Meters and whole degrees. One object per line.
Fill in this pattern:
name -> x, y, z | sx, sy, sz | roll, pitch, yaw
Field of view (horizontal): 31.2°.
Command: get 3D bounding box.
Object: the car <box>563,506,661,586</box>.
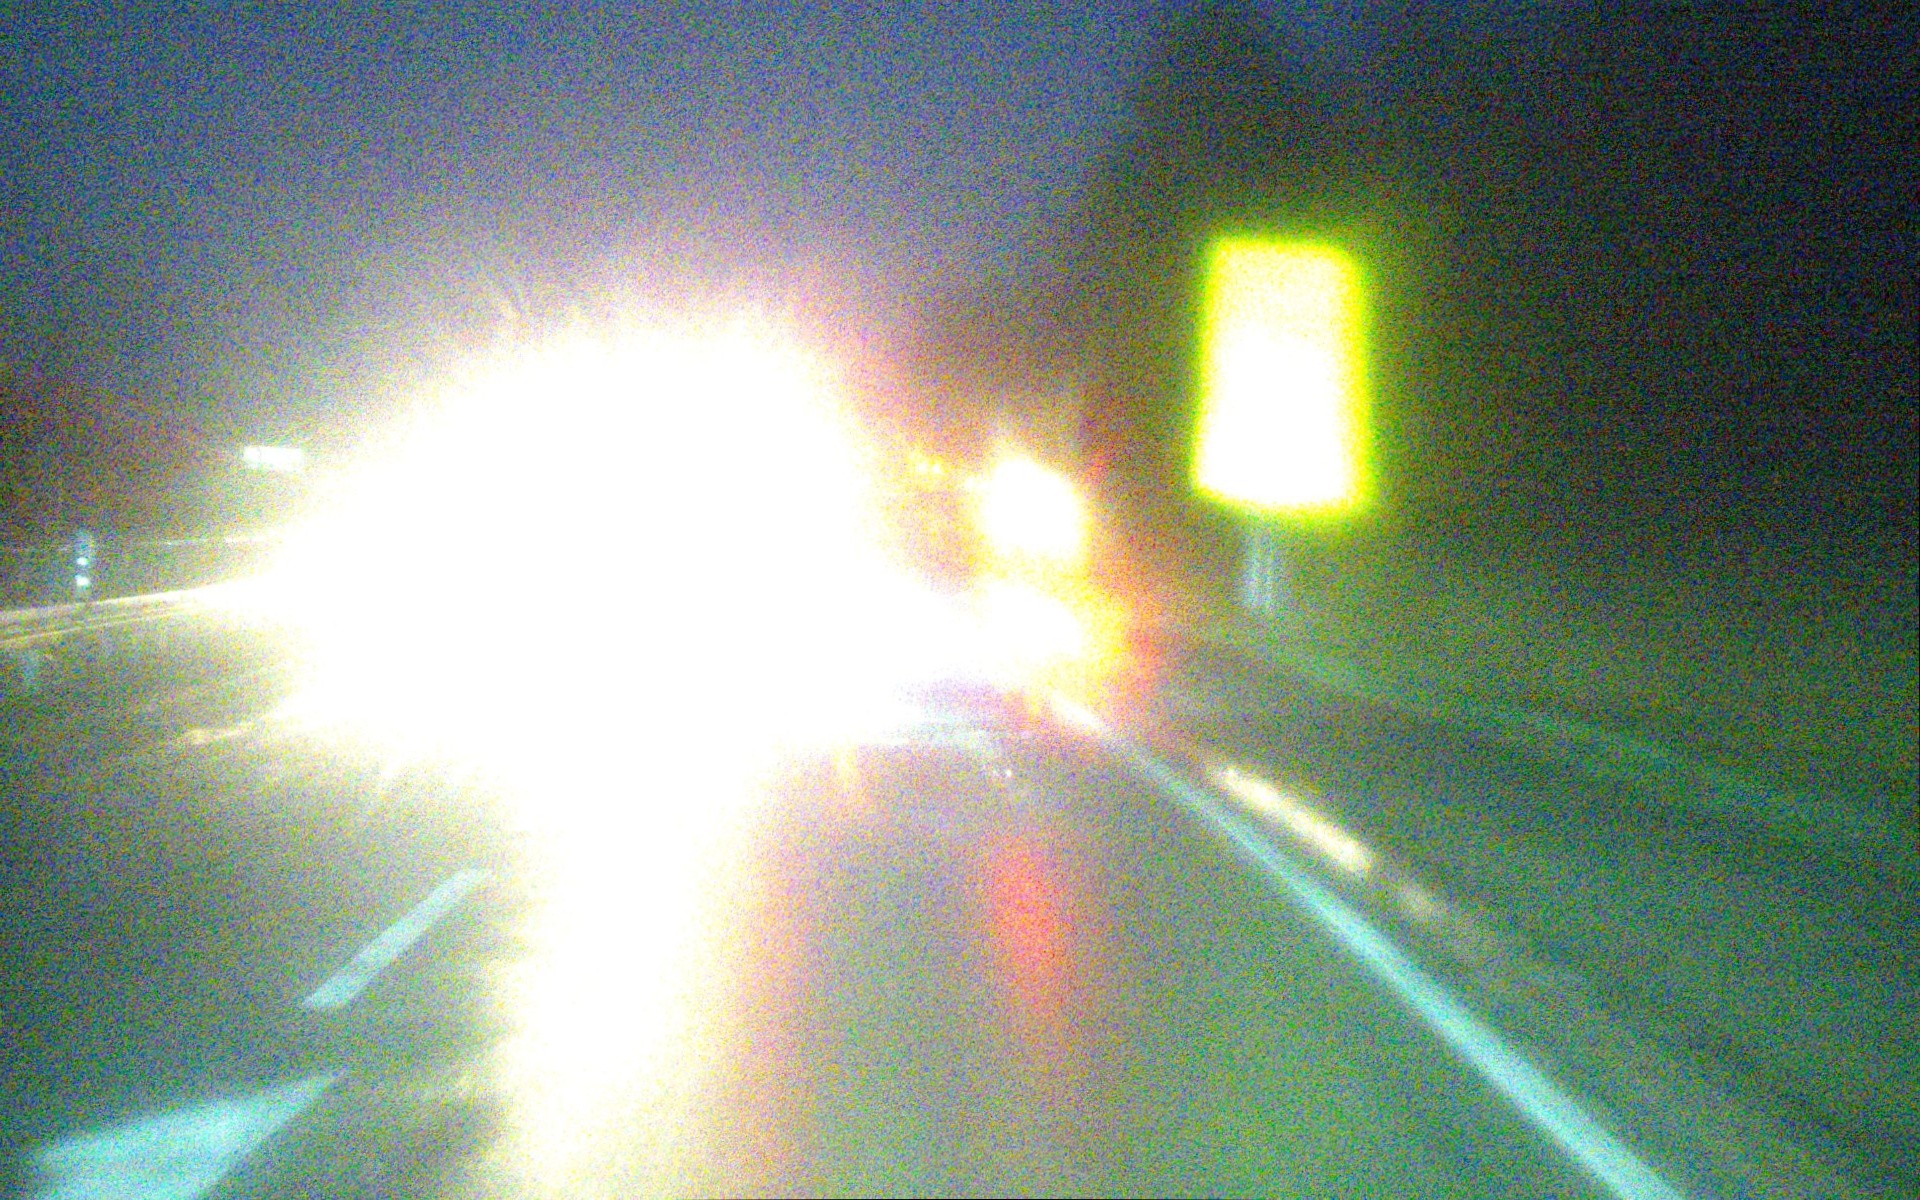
car -> -7.385, -1.180, 73.219 | 1.862, 1.539, 4.230 | 2, 2, -3

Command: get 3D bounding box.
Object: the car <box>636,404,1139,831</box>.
car -> -0.542, 0.049, 21.634 | 2.715, 2.300, 6.101 | 0, 1, -3

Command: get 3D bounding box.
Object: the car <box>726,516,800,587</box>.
car -> -5.458, -1.356, 95.128 | 1.993, 1.908, 4.001 | 1, 1, -3
